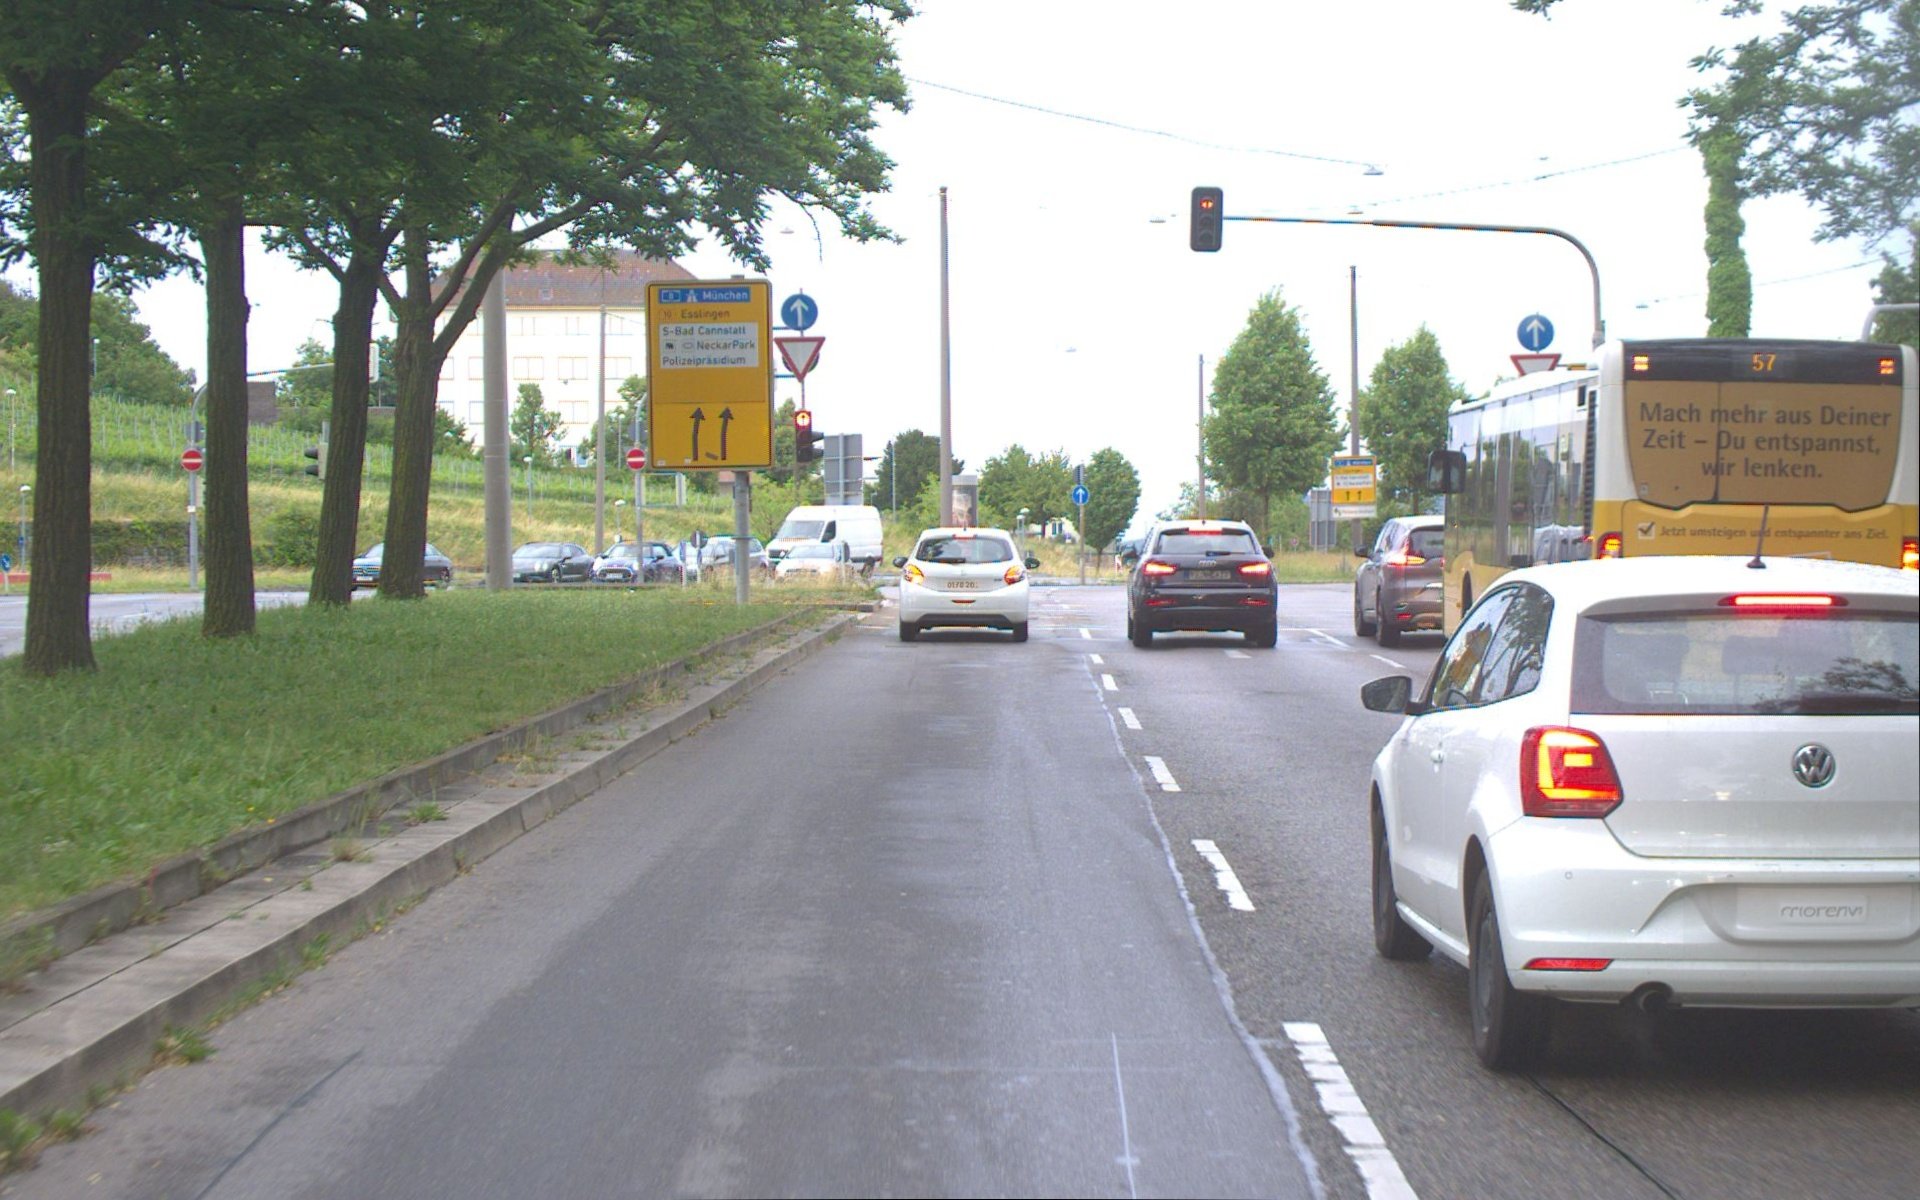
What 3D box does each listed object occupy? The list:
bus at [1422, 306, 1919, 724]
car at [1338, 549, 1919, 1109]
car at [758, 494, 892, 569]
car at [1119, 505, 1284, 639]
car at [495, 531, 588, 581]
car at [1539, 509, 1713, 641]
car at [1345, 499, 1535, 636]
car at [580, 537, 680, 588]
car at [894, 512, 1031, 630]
[{"bbox_3d":[6.386,-0.831,32.466,2.727,3.141,12.146,2,2,2],"label":"bus"},{"bbox_3d":[2.292,0.581,10.850,1.741,1.427,3.812,2,1,0],"label":"car"},{"bbox_3d":[-4.812,-2.445,123.879,1.996,2.550,6.160,2,1,27],"label":"car"},{"bbox_3d":[3.047,-0.366,44.107,1.884,1.590,4.113,2,1,2],"label":"car"},{"bbox_3d":[-12.418,-1.307,102.241,1.787,1.391,3.880,1,0,8],"label":"car"},{"bbox_3d":[8.491,-0.297,43.587,1.866,1.492,4.149,3,1,14],"label":"car"},{"bbox_3d":[6.206,-0.474,44.916,1.865,1.668,4.566,1,2,1],"label":"car"},{"bbox_3d":[-9.610,-1.078,100.270,1.787,1.391,3.880,1,0,12],"label":"car"},{"bbox_3d":[0.073,-0.395,45.841,1.718,1.484,4.000,1,1,1],"label":"car"}]
